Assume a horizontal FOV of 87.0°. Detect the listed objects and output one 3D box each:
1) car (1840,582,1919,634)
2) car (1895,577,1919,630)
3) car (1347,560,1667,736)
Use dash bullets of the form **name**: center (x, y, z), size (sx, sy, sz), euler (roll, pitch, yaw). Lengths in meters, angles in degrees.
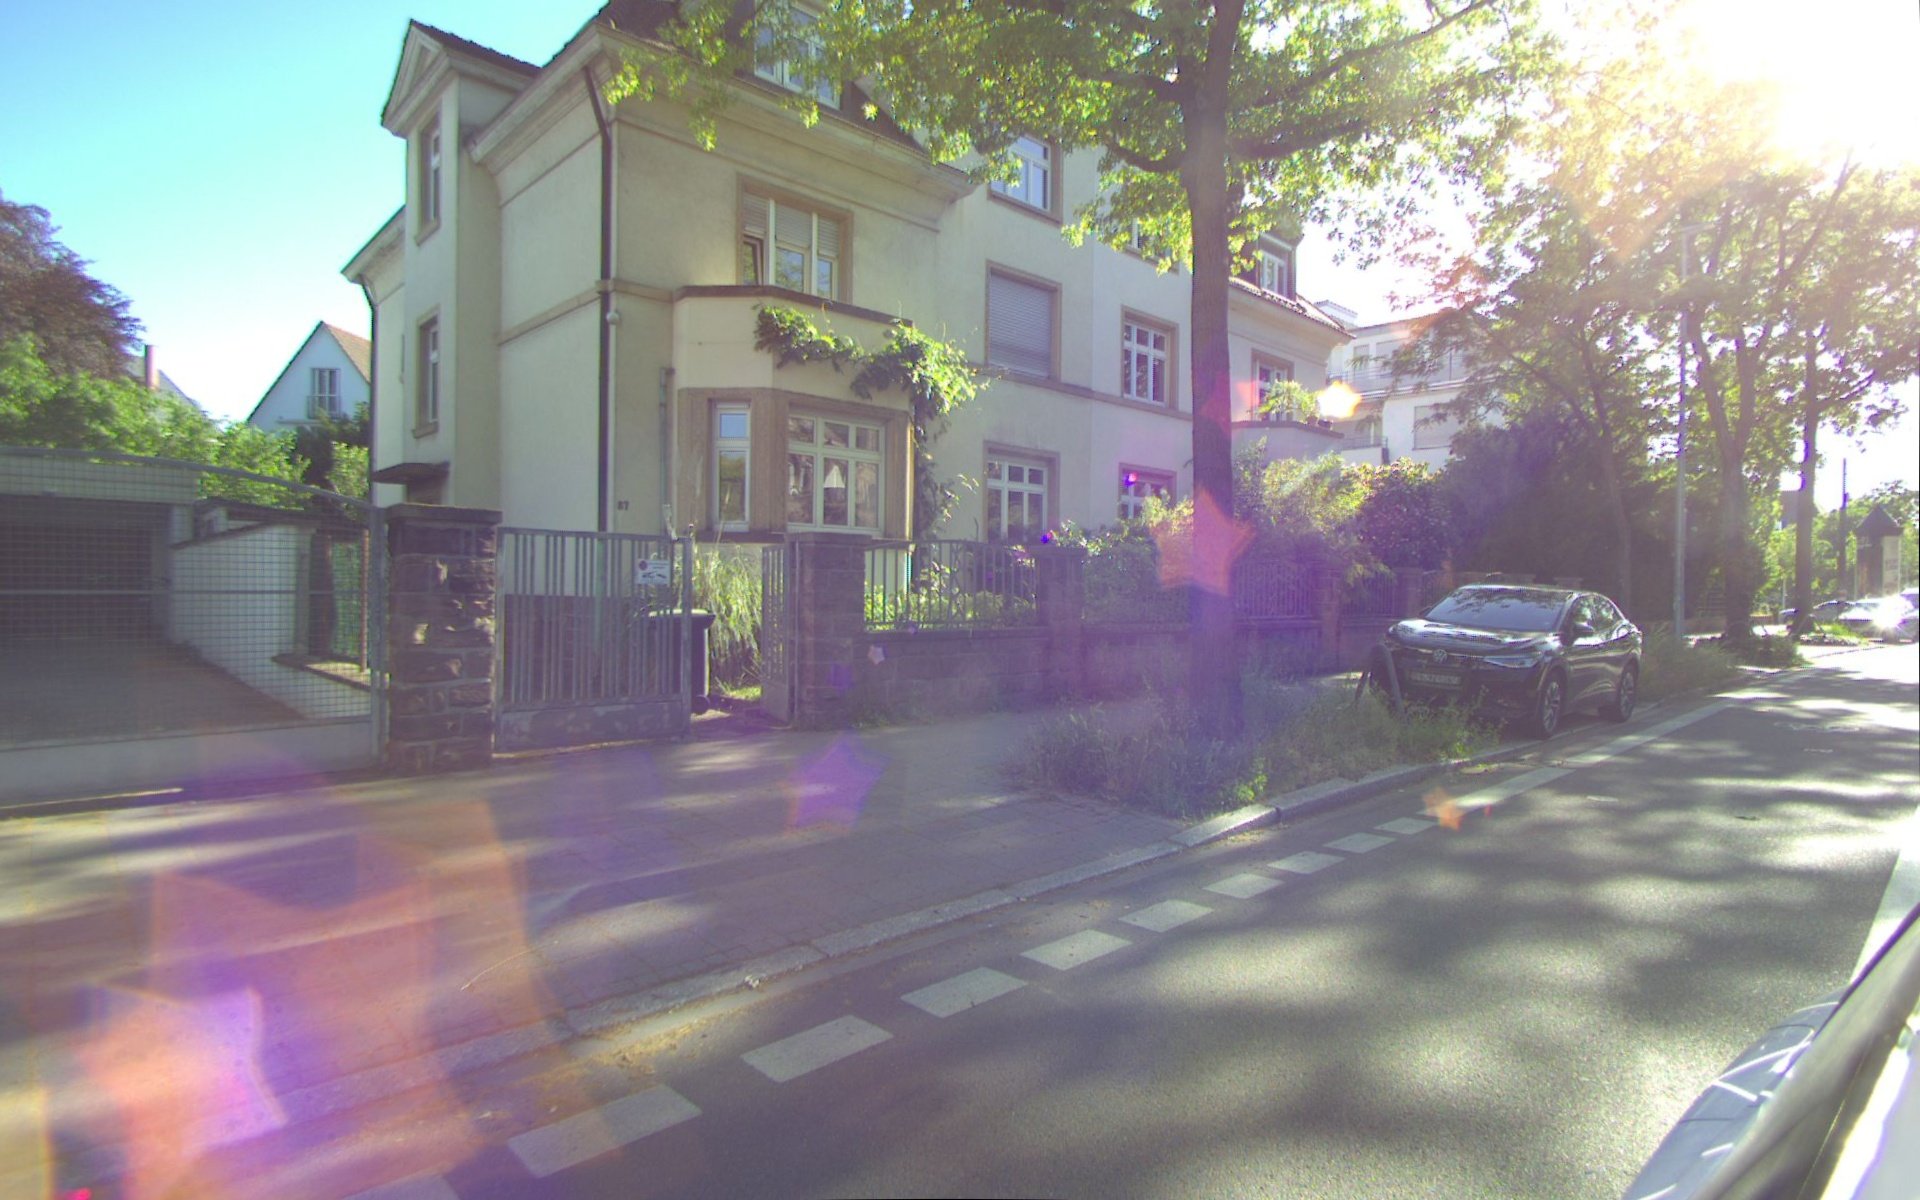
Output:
- **car**: center (31.432, 0.248, 34.205), size (3.927, 1.660, 1.824), euler (0, 1, -38)
- **car**: center (36.767, 0.127, 37.877), size (4.663, 1.919, 2.128), euler (0, 1, -41)
- **car**: center (6.702, 0.478, 12.199), size (4.304, 1.695, 1.997), euler (1, 2, -42)
